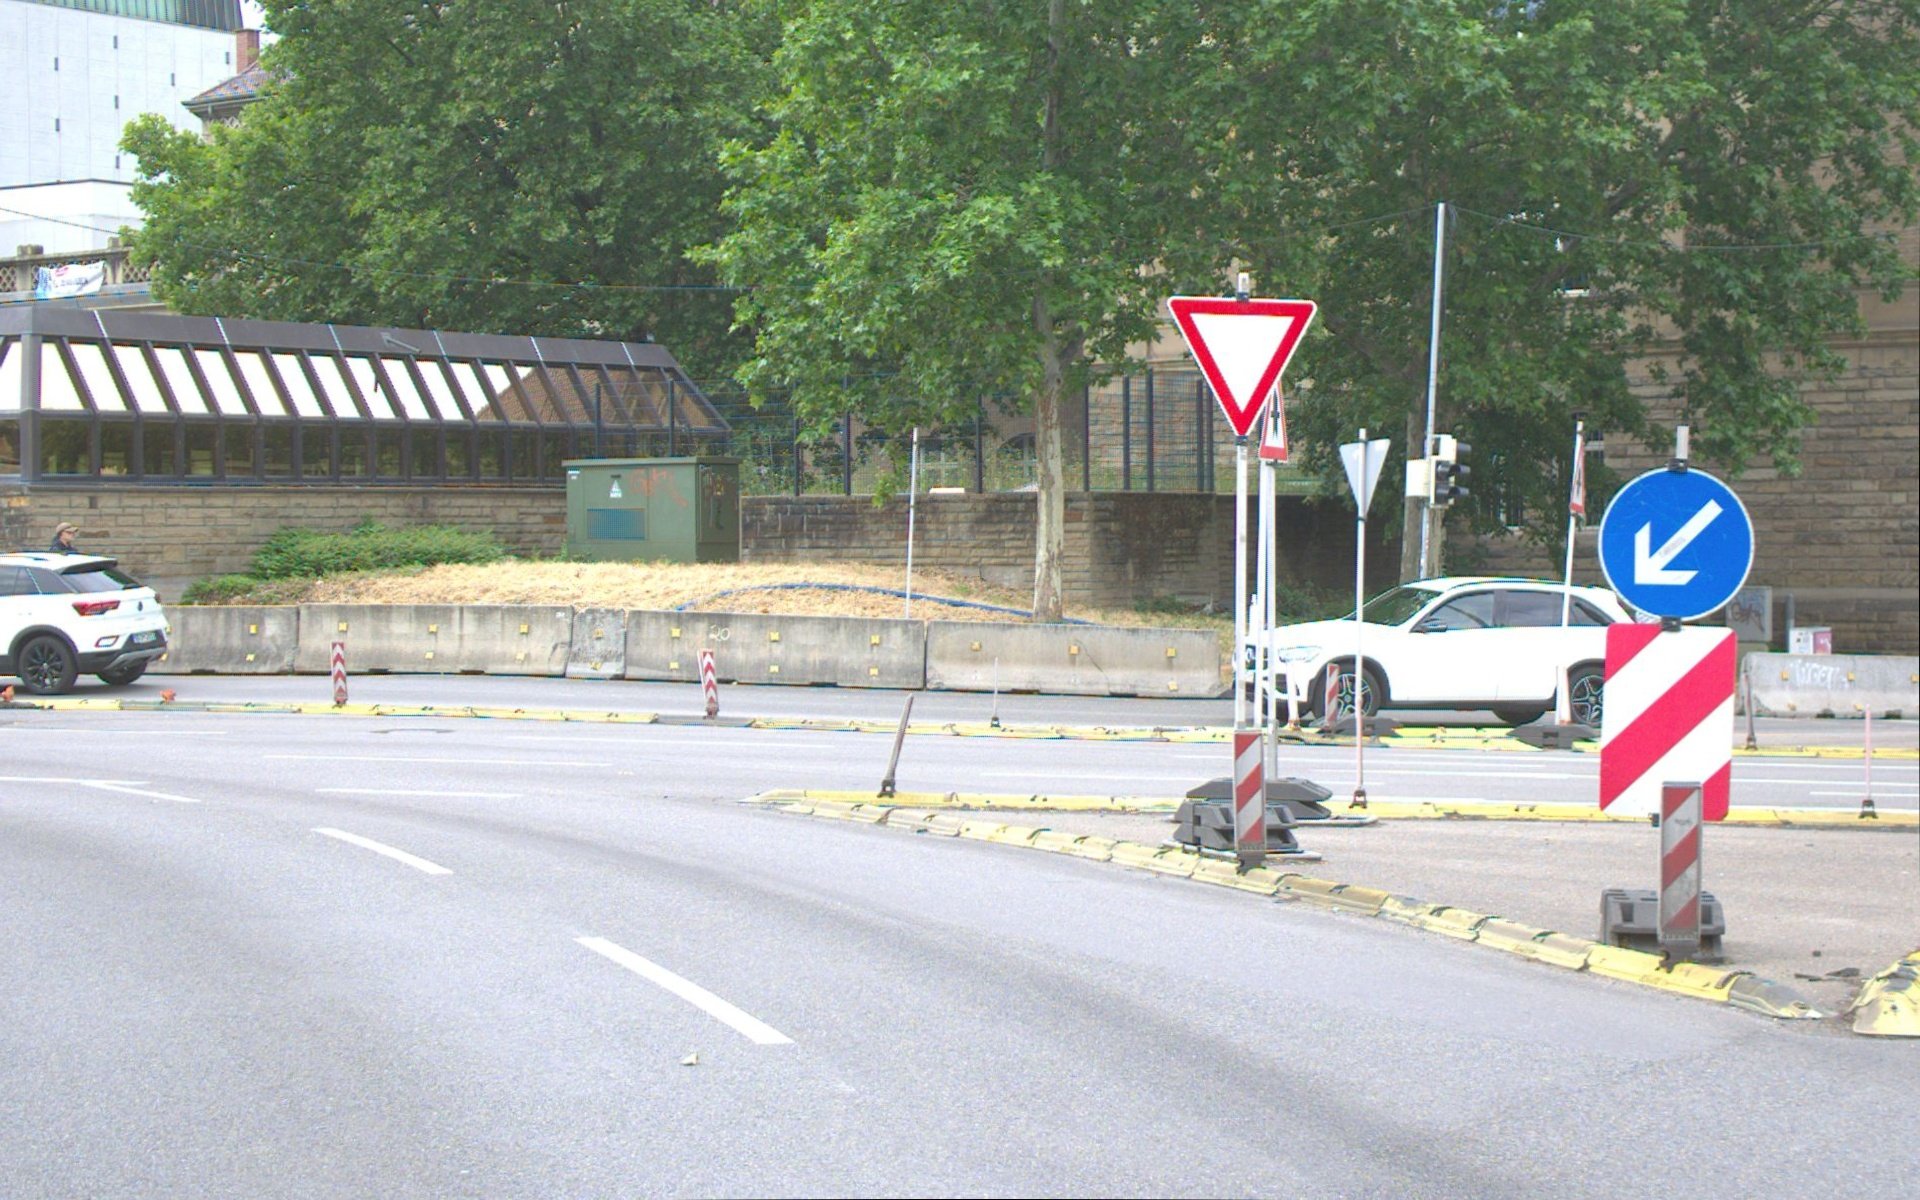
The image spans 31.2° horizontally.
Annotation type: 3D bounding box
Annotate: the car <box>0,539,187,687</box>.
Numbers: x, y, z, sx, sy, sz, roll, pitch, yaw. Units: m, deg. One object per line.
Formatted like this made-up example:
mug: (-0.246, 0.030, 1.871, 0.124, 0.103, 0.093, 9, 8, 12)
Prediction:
car: (-11.224, 0.123, 39.246, 4.320, 1.562, 1.755, 0, 3, 15)

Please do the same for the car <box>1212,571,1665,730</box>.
car: (5.202, 0.528, 37.435, 4.536, 1.637, 1.818, 0, 1, -19)

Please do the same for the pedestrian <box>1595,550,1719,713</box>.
pedestrian: (8.713, 0.379, 43.031, 1.190, 2.007, 1.204, 0, 1, -6)

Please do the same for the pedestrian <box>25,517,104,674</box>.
pedestrian: (-11.538, -0.056, 44.317, 0.848, 2.007, 0.623, 0, 0, 1)
